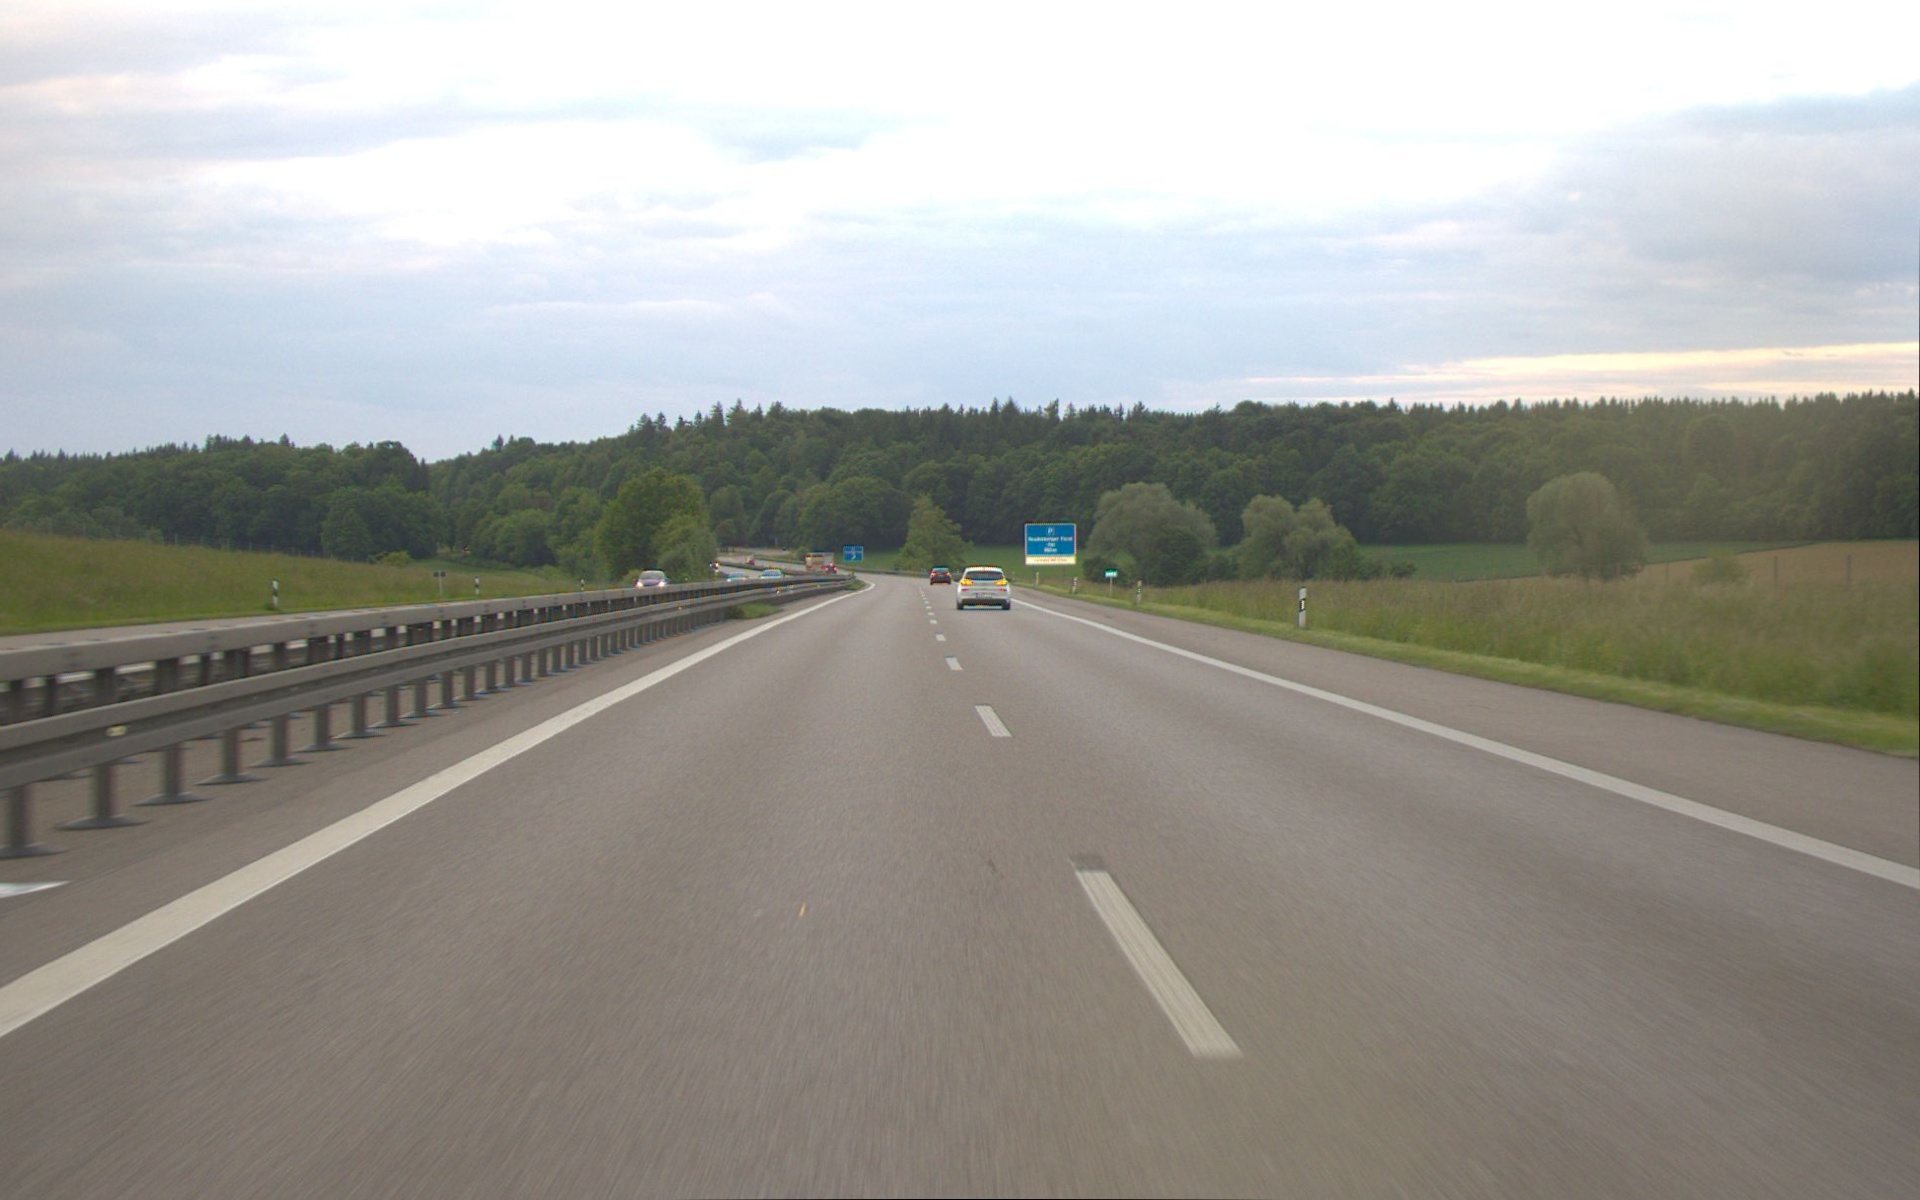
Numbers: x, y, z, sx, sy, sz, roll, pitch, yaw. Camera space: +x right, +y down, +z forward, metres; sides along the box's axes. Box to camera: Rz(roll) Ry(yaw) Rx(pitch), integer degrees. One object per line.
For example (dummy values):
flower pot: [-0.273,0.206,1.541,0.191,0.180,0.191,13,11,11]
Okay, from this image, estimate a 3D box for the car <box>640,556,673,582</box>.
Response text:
car: [-17.179,-1.765,194.635,1.528,1.428,4.435,1,1,-1]

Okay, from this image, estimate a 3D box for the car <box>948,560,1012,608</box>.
car: [0.663,-0.557,116.789,1.951,1.526,4.081,1,1,-3]
